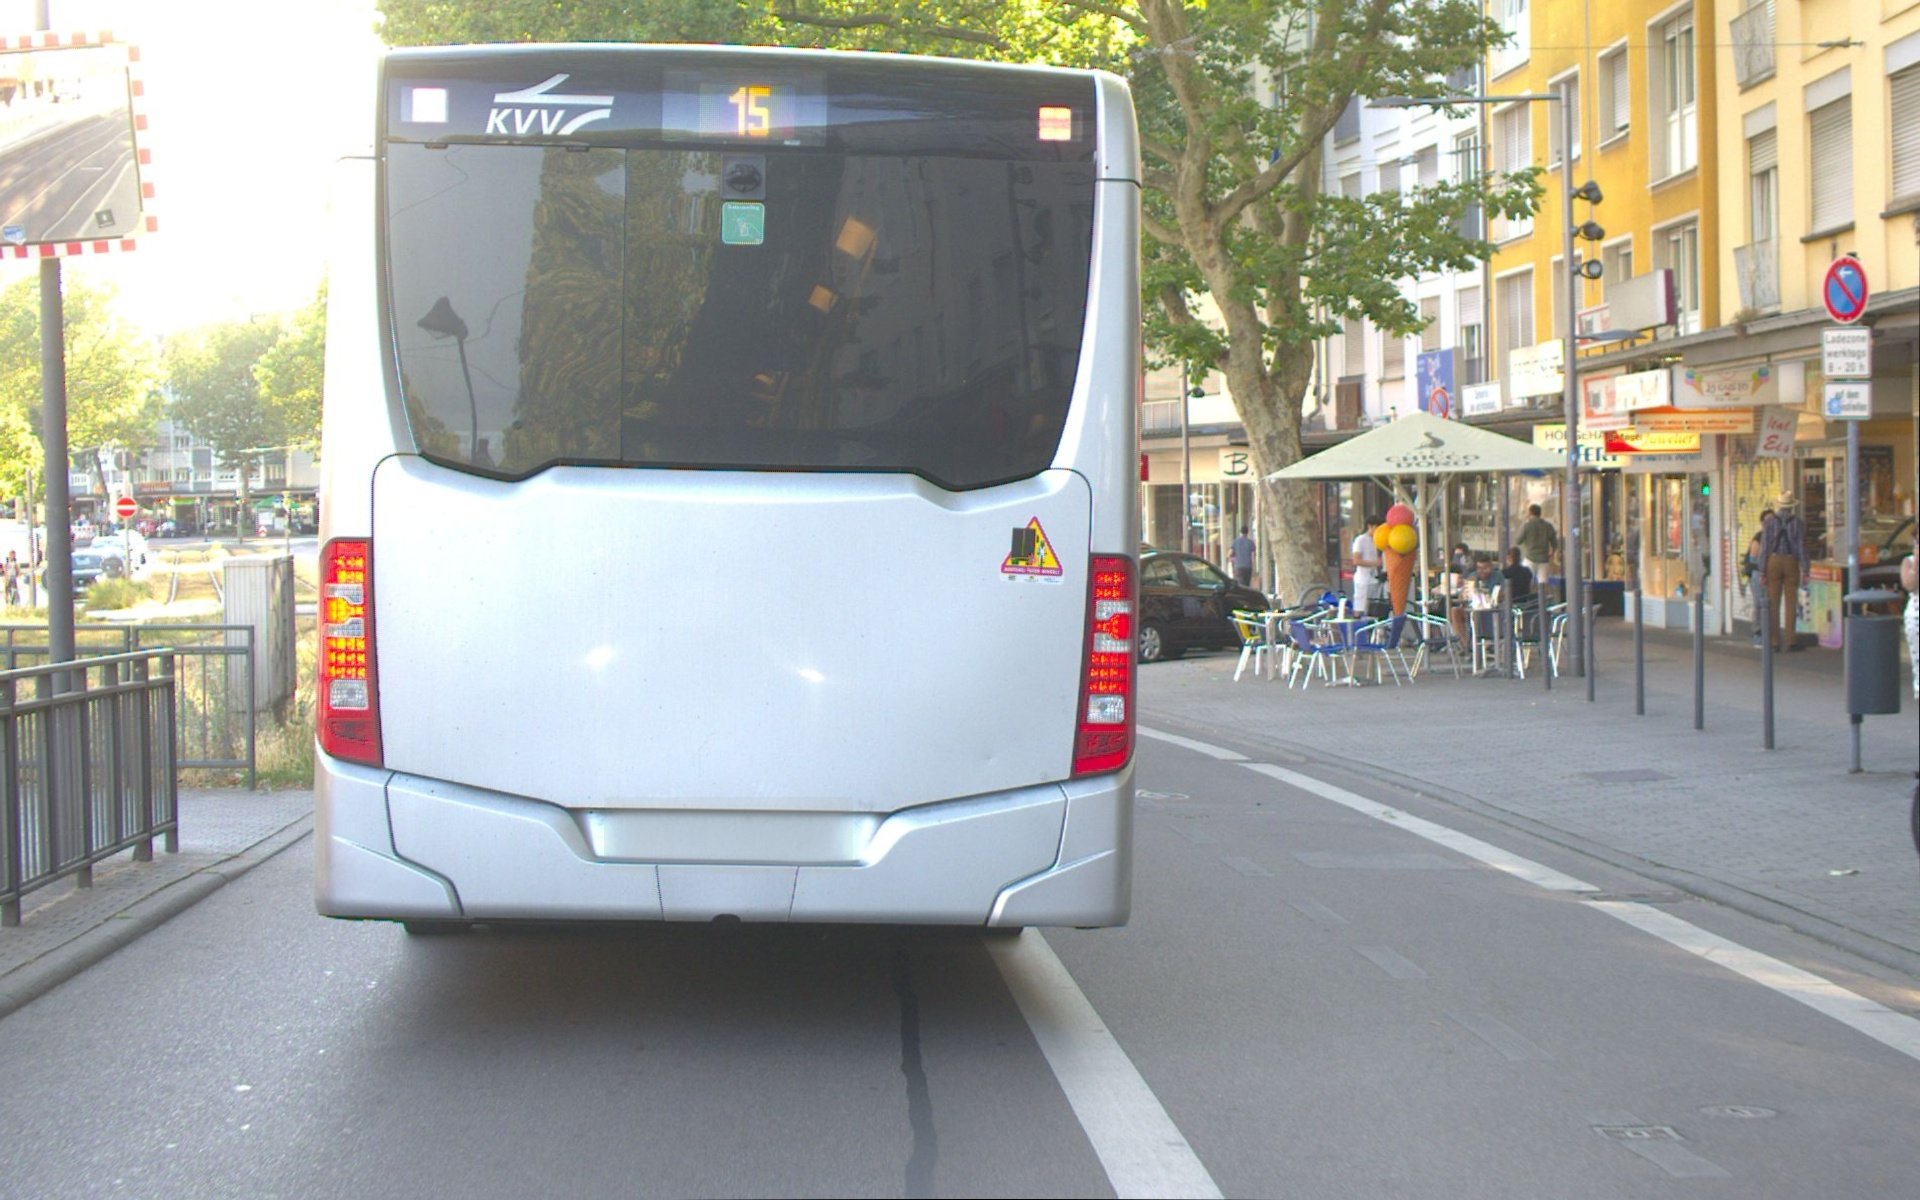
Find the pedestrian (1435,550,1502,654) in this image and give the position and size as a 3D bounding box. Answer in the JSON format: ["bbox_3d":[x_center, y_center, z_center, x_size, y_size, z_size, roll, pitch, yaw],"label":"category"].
[{"bbox_3d":[6.073,0.014,41.102,0.605,1.221,0.745,-1,1,-7],"label":"pedestrian"}]

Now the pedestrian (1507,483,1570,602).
[{"bbox_3d":[8.973,-0.888,53.338,0.706,1.785,0.788,-4,1,-1],"label":"pedestrian"}]

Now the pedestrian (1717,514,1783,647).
[{"bbox_3d":[9.313,-0.231,40.506,0.625,1.541,0.636,-1,1,24],"label":"pedestrian"}]

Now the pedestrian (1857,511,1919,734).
[{"bbox_3d":[6.949,0.148,24.925,0.635,1.581,0.627,-3,1,-1],"label":"pedestrian"}]

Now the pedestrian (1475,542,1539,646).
[{"bbox_3d":[6.807,-0.083,42.810,0.583,1.270,0.759,1,1,-7],"label":"pedestrian"}]

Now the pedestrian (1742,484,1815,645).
[{"bbox_3d":[9.253,-0.399,38.845,0.636,1.797,0.626,-1,1,29],"label":"pedestrian"}]

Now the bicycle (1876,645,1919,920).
[{"bbox_3d":[4.850,0.705,14.287,1.907,1.101,0.518,-3,1,6],"label":"bicycle"}]

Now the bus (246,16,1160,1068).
[{"bbox_3d":[-0.970,-0.246,13.677,2.677,3.073,7.115,0,1,-4],"label":"bus"}]

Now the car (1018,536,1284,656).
[{"bbox_3d":[2.646,-0.074,47.190,1.740,1.535,3.600,0,1,42],"label":"car"}]

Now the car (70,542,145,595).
[{"bbox_3d":[-26.282,-1.000,106.052,1.722,1.504,3.477,-4,1,-6],"label":"car"}]

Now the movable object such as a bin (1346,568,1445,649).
[{"bbox_3d":[5.616,0.112,44.350,0.926,1.020,0.840,0,1,-29],"label":"movable object such as a bin"}]

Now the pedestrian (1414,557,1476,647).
[{"bbox_3d":[6.127,0.021,43.461,0.583,1.111,0.751,1,1,-7],"label":"pedestrian"}]

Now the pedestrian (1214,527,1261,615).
[{"bbox_3d":[5.713,-0.593,70.777,0.780,1.787,0.764,-1,1,-7],"label":"pedestrian"}]
